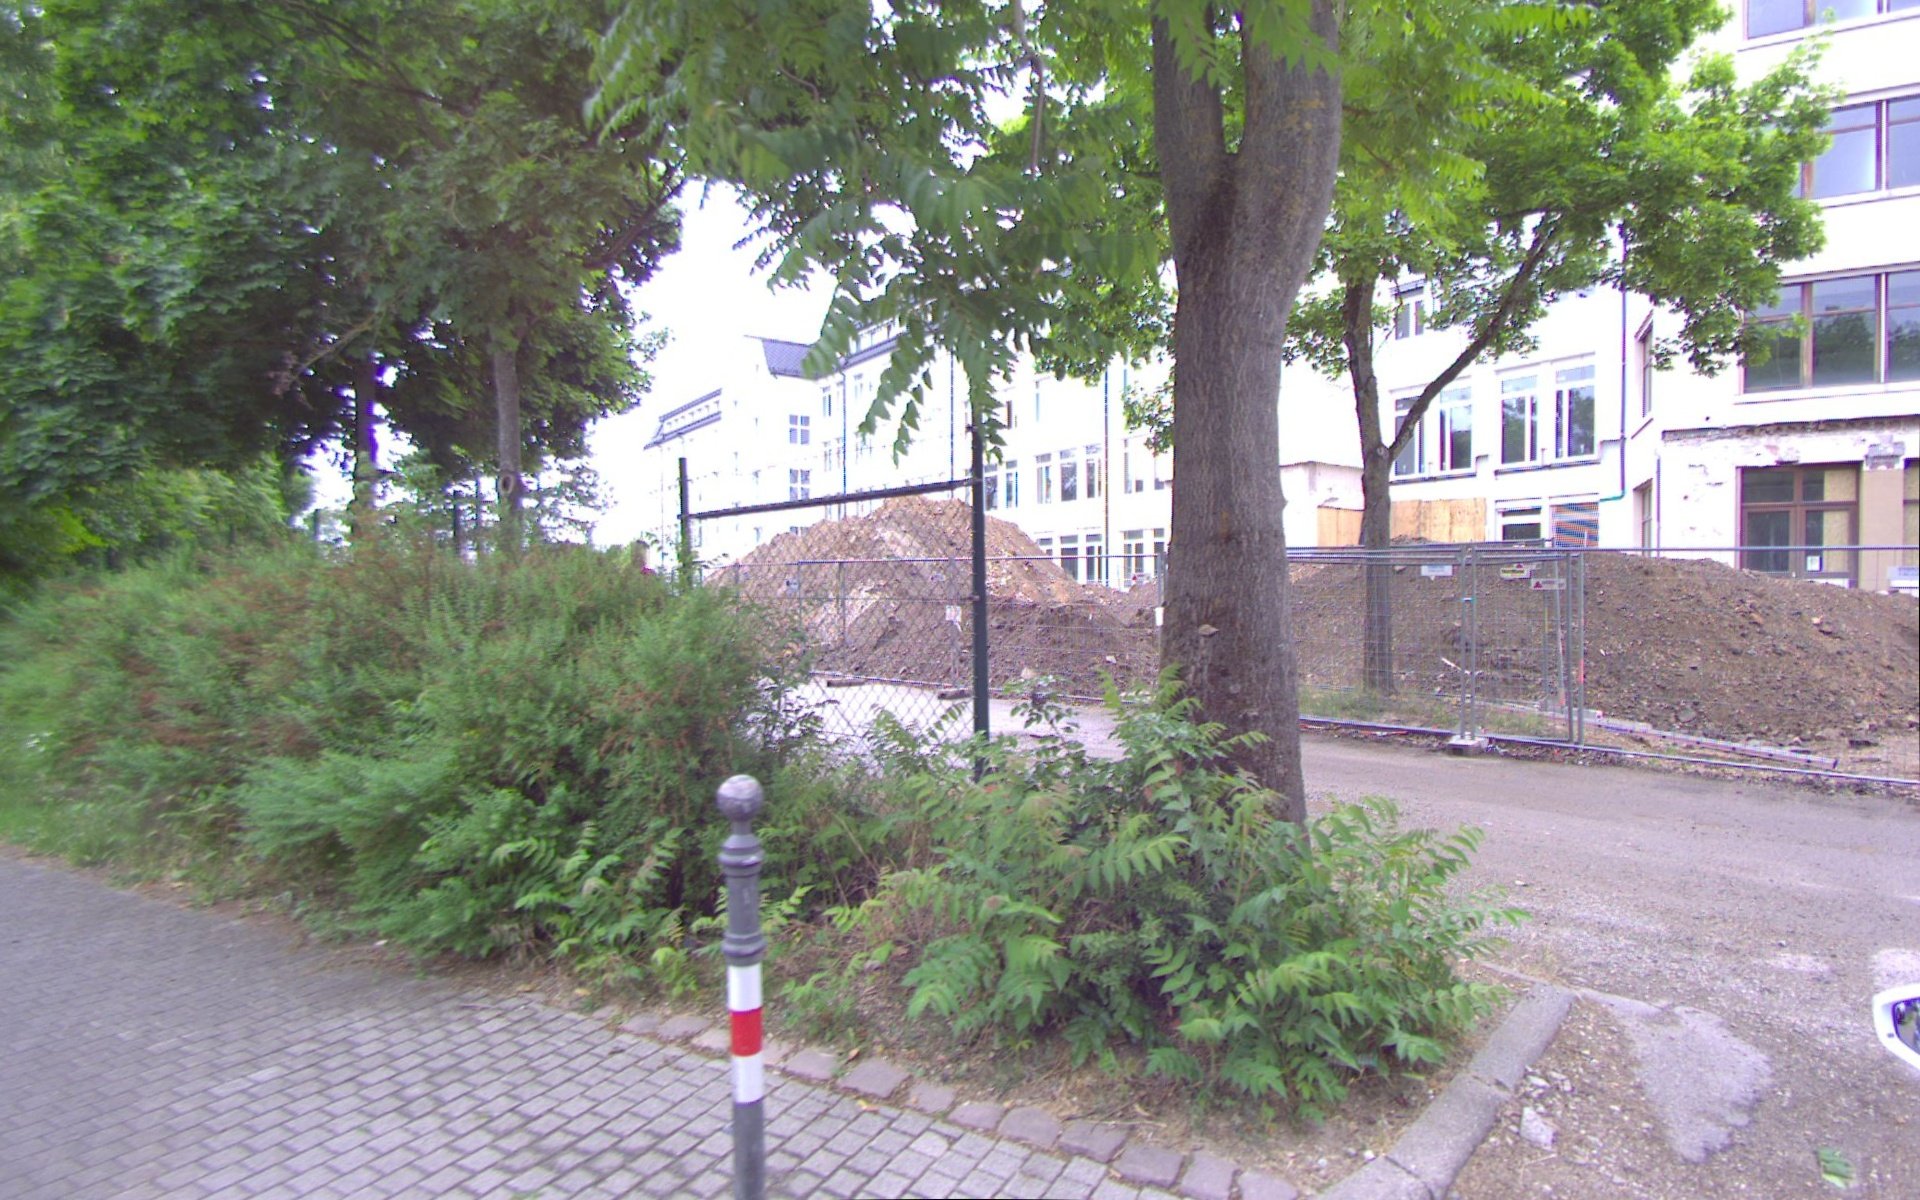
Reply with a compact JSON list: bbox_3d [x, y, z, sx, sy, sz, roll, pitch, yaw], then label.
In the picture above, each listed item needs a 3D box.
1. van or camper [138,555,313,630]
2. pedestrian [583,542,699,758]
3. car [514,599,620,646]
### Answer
[{"bbox_3d":[-23.688,-0.212,32.607,4.456,2.288,1.980,0,0,-35],"label":"van or camper"},{"bbox_3d":[-3.341,0.489,10.481,0.788,2.092,1.187,0,0,-39],"label":"pedestrian"},{"bbox_3d":[-16.433,0.915,42.029,3.950,1.862,1.985,0,0,-28],"label":"car"}]
